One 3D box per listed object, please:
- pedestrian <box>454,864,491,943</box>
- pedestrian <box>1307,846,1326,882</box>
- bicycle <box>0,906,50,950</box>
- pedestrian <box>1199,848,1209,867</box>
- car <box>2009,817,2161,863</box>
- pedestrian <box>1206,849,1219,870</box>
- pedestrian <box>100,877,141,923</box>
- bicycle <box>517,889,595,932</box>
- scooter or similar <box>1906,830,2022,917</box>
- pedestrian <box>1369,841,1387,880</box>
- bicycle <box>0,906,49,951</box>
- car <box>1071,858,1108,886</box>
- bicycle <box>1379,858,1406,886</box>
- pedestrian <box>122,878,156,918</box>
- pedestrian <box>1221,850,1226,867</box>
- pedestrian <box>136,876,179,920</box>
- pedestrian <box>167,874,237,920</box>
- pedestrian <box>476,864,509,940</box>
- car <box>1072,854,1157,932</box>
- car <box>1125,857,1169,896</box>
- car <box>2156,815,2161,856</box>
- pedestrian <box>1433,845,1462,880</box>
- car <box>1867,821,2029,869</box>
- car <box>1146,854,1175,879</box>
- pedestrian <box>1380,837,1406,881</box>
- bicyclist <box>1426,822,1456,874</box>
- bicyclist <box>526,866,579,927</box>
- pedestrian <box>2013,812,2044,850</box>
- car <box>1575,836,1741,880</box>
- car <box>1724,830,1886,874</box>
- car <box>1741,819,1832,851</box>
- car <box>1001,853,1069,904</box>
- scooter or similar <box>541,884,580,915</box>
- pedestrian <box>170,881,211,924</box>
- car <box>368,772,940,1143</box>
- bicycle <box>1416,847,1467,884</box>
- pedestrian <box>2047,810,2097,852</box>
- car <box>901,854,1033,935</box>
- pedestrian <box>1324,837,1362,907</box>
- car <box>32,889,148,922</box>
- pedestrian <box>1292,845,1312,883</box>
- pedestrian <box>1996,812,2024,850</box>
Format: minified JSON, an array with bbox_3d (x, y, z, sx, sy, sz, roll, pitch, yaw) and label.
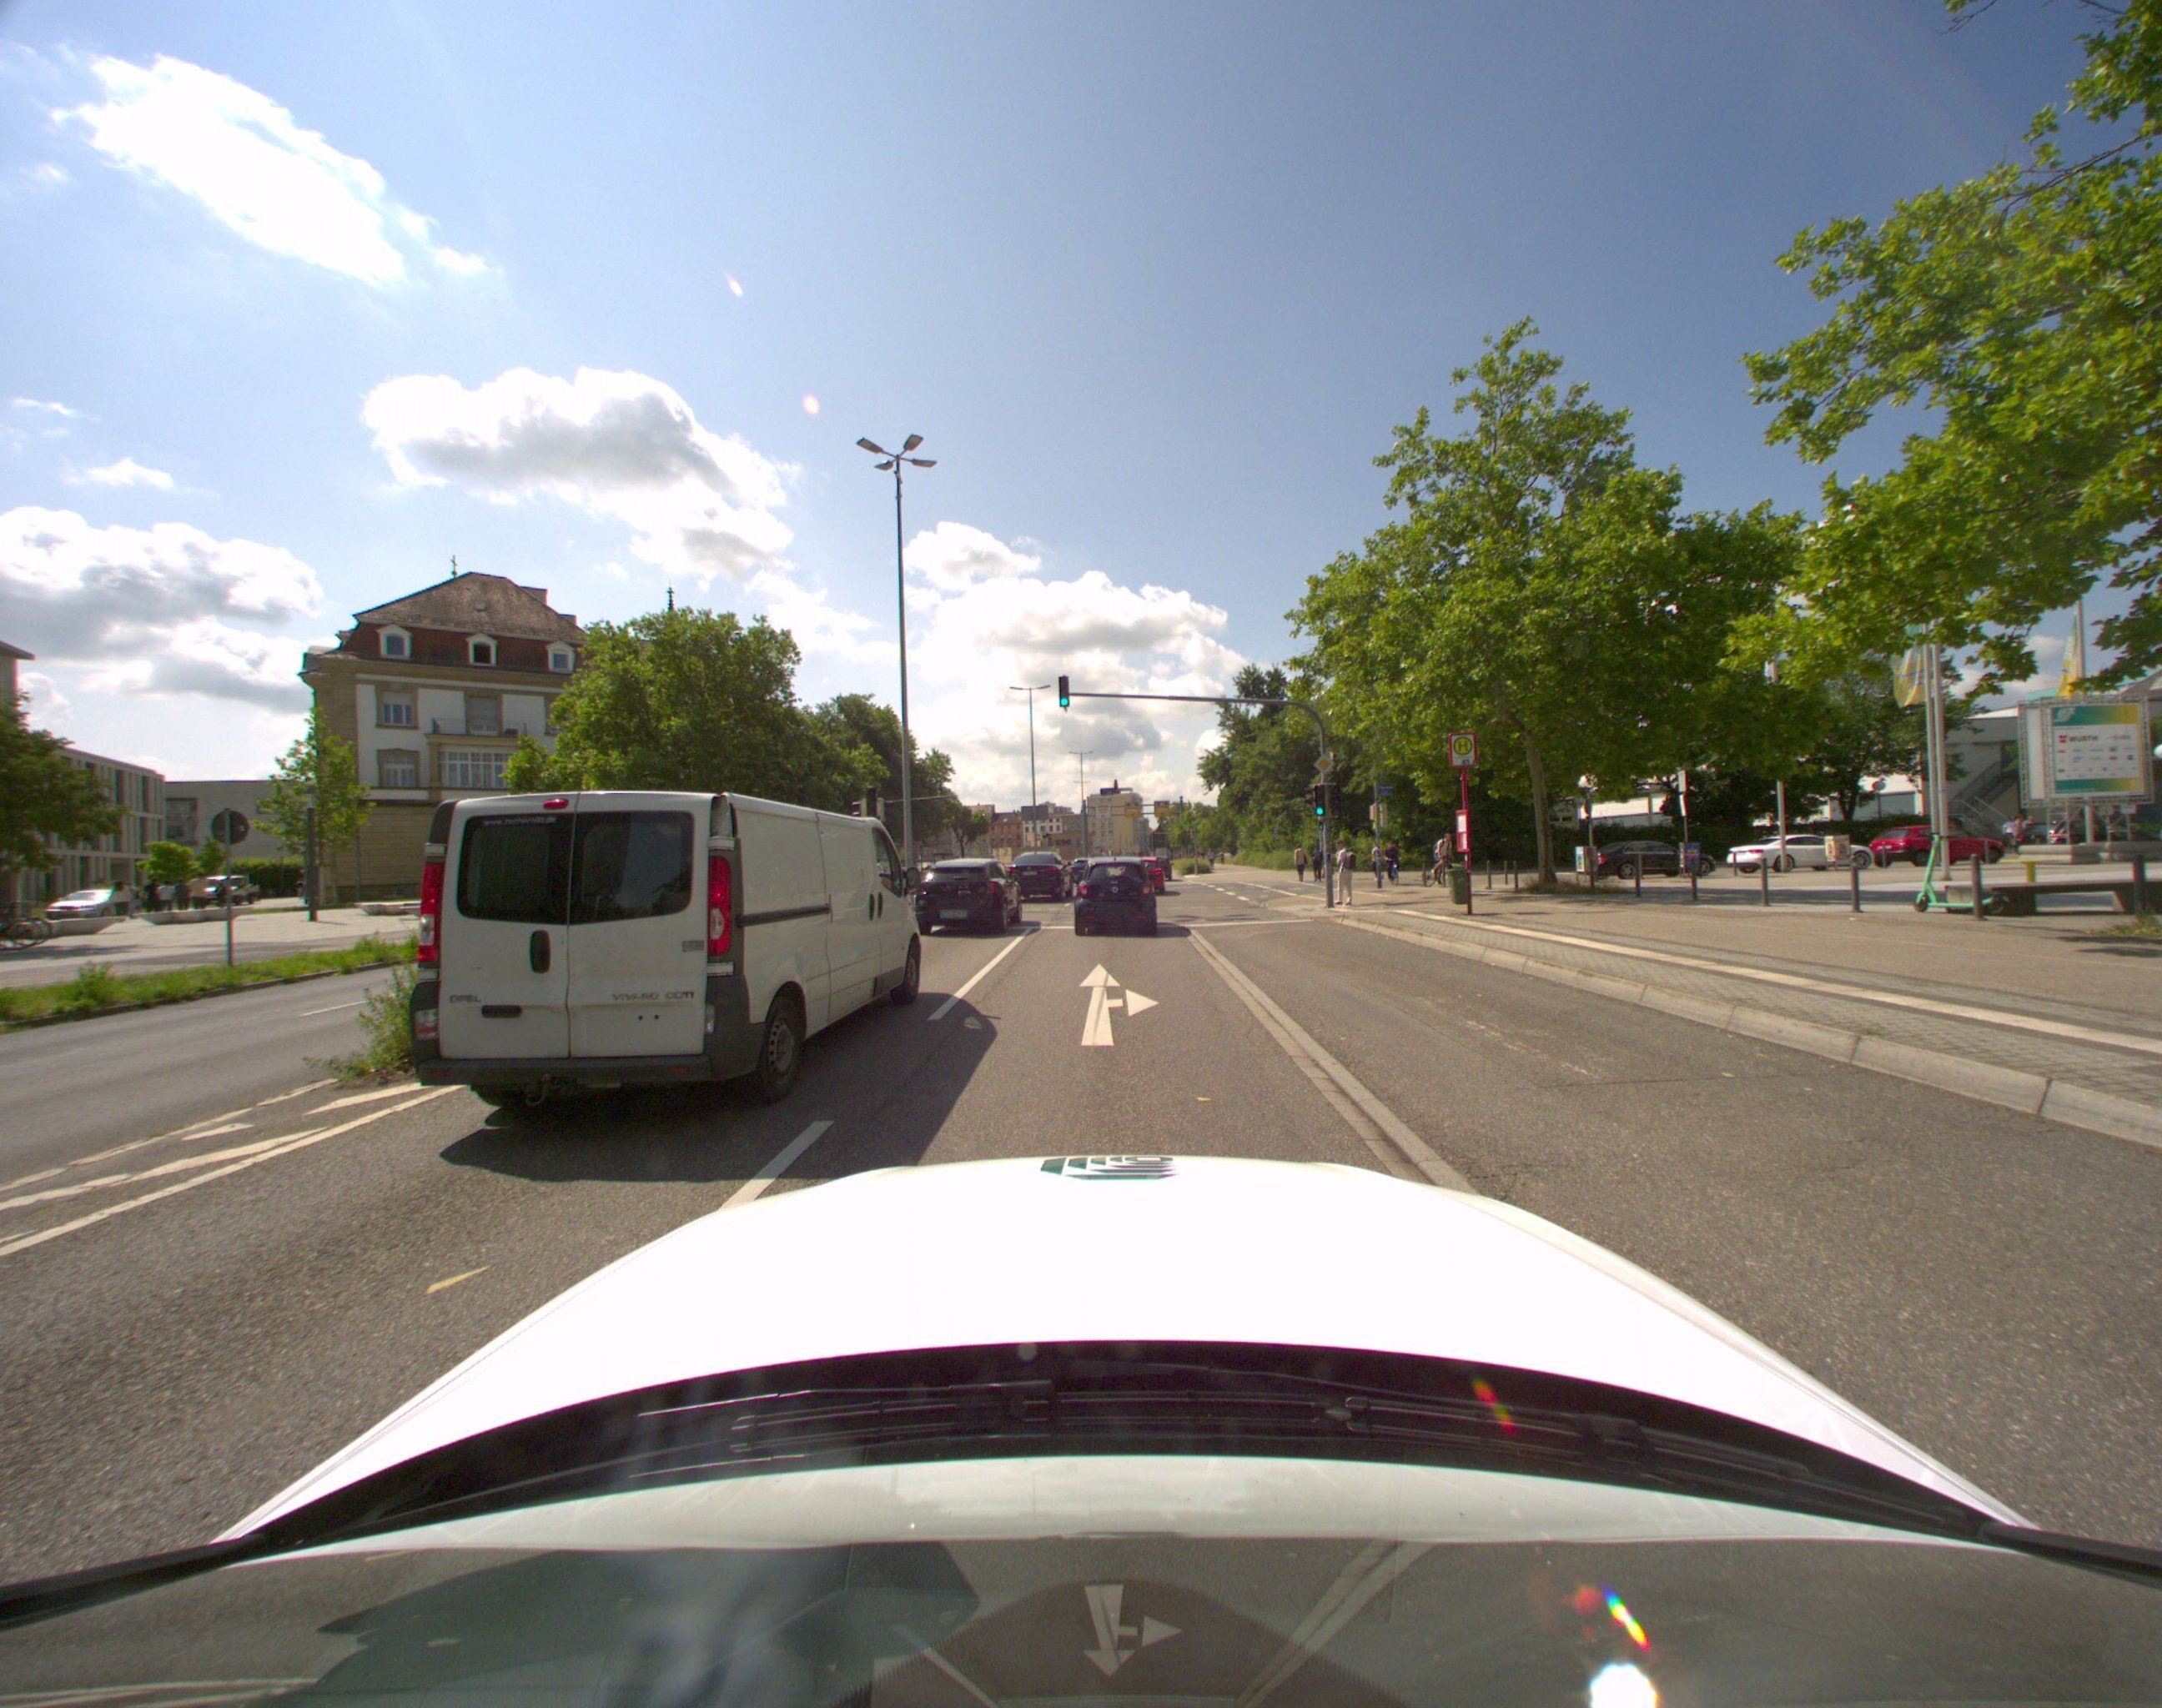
[{"bbox_3d":[-14.515,1.173,19.438,0.479,1.842,0.630,-1,-1,-13],"label":"pedestrian"},{"bbox_3d":[11.257,0.459,38.959,0.790,1.704,1.186,-1,0,12],"label":"pedestrian"},{"bbox_3d":[-25.128,1.734,18.697,0.522,0.955,1.785,-2,-1,39],"label":"bicycle"},{"bbox_3d":[13.010,0.357,86.246,0.835,1.969,0.861,-2,-1,2],"label":"pedestrian"},{"bbox_3d":[37.314,-0.513,30.116,3.973,1.529,1.725,-2,-1,1],"label":"car"},{"bbox_3d":[10.982,0.422,68.093,0.847,1.701,0.932,-3,-1,4],"label":"pedestrian"},{"bbox_3d":[-39.481,1.884,33.480,0.834,1.790,0.818,-2,0,20],"label":"pedestrian"},{"bbox_3d":[-14.482,1.554,22.481,1.662,1.124,0.694,-1,-1,-3],"label":"bicycle"},{"bbox_3d":[12.446,0.268,11.519,0.351,1.165,1.193,0,-1,2],"label":"scooter or similar"},{"bbox_3d":[14.318,0.302,39.268,0.666,1.821,0.706,-1,0,12],"label":"pedestrian"},{"bbox_3d":[-24.675,1.703,18.323,0.522,0.955,1.785,-2,-1,39],"label":"bicycle"},{"bbox_3d":[0.477,0.875,41.426,1.604,1.325,3.521,-2,0,4],"label":"car"},{"bbox_3d":[12.838,0.723,33.657,0.809,1.072,1.898,-1,0,14],"label":"bicycle"},{"bbox_3d":[-43.955,2.039,37.999,0.678,1.790,0.837,-2,0,-21],"label":"pedestrian"},{"bbox_3d":[16.631,0.521,94.990,0.500,1.890,0.560,0,-1,1],"label":"pedestrian"},{"bbox_3d":[-38.953,1.849,34.364,0.834,1.790,0.896,-2,0,17],"label":"pedestrian"},{"bbox_3d":[-33.383,1.606,30.954,1.312,1.651,1.304,-2,0,14],"label":"pedestrian"},{"bbox_3d":[-14.673,1.182,20.314,0.413,1.842,0.574,-1,-1,-4],"label":"pedestrian"},{"bbox_3d":[0.758,0.756,17.316,1.604,1.485,3.521,-1,0,4],"label":"car"},{"bbox_3d":[2.564,0.821,31.657,1.604,1.411,3.521,0,0,4],"label":"car"},{"bbox_3d":[42.950,-0.801,30.008,4.540,1.529,1.723,-2,-2,-3],"label":"car"},{"bbox_3d":[17.331,0.390,38.528,0.853,1.626,1.019,-3,1,-4],"label":"pedestrian"},{"bbox_3d":[31.991,-0.301,30.124,4.118,1.497,1.620,-2,-3,1],"label":"car"},{"bbox_3d":[4.773,0.722,49.246,1.604,1.411,3.521,0,0,4],"label":"car"},{"bbox_3d":[12.888,0.205,33.693,0.848,1.820,1.180,0,0,13],"label":"pedestrian"},{"bbox_3d":[12.880,-0.219,29.133,0.661,1.845,0.758,0,-1,-14],"label":"bicyclist"},{"bbox_3d":[-14.564,1.161,22.474,0.993,1.615,0.657,-2,0,-2],"label":"bicyclist"},{"bbox_3d":[48.673,-1.176,41.839,0.725,1.925,0.789,-2,-1,23],"label":"pedestrian"},{"bbox_3d":[21.466,0.164,30.407,4.915,1.400,1.724,-2,-2,0],"label":"car"},{"bbox_3d":[26.875,-0.043,30.321,4.409,1.400,1.724,-2,-3,0],"label":"car"},{"bbox_3d":[47.475,-1.260,54.965,1.985,1.986,4.941,-1,0,3],"label":"car"},{"bbox_3d":[-1.516,0.777,28.496,1.819,1.601,4.398,-1,0,4],"label":"car"},{"bbox_3d":[-19.050,1.668,29.823,1.153,1.067,0.399,-2,0,-26],"label":"scooter or similar"},{"bbox_3d":[-38.543,2.071,35.267,0.835,1.790,0.869,-2,0,14],"label":"pedestrian"},{"bbox_3d":[-2.761,0.567,6.987,1.998,1.955,5.196,-1,0,2],"label":"car"},{"bbox_3d":[12.871,0.407,29.142,0.661,1.297,1.865,0,-1,-15],"label":"bicycle"},{"bbox_3d":[47.763,-1.094,39.253,1.013,1.920,1.099,-2,-1,2],"label":"pedestrian"},{"bbox_3d":[-2.387,0.799,18.406,2.009,1.530,4.891,-1,0,3],"label":"car"},{"bbox_3d":[7.021,0.481,21.798,0.598,1.800,0.604,-4,-1,-33],"label":"pedestrian"},{"bbox_3d":[-46.406,2.371,38.280,2.006,1.306,4.450,0,-1,-30],"label":"car"},{"bbox_3d":[10.217,0.456,37.624,0.790,1.704,1.186,-1,0,12],"label":"pedestrian"},{"bbox_3d":[48.027,-1.188,42.104,0.586,1.925,0.790,-2,-1,23],"label":"pedestrian"}]
